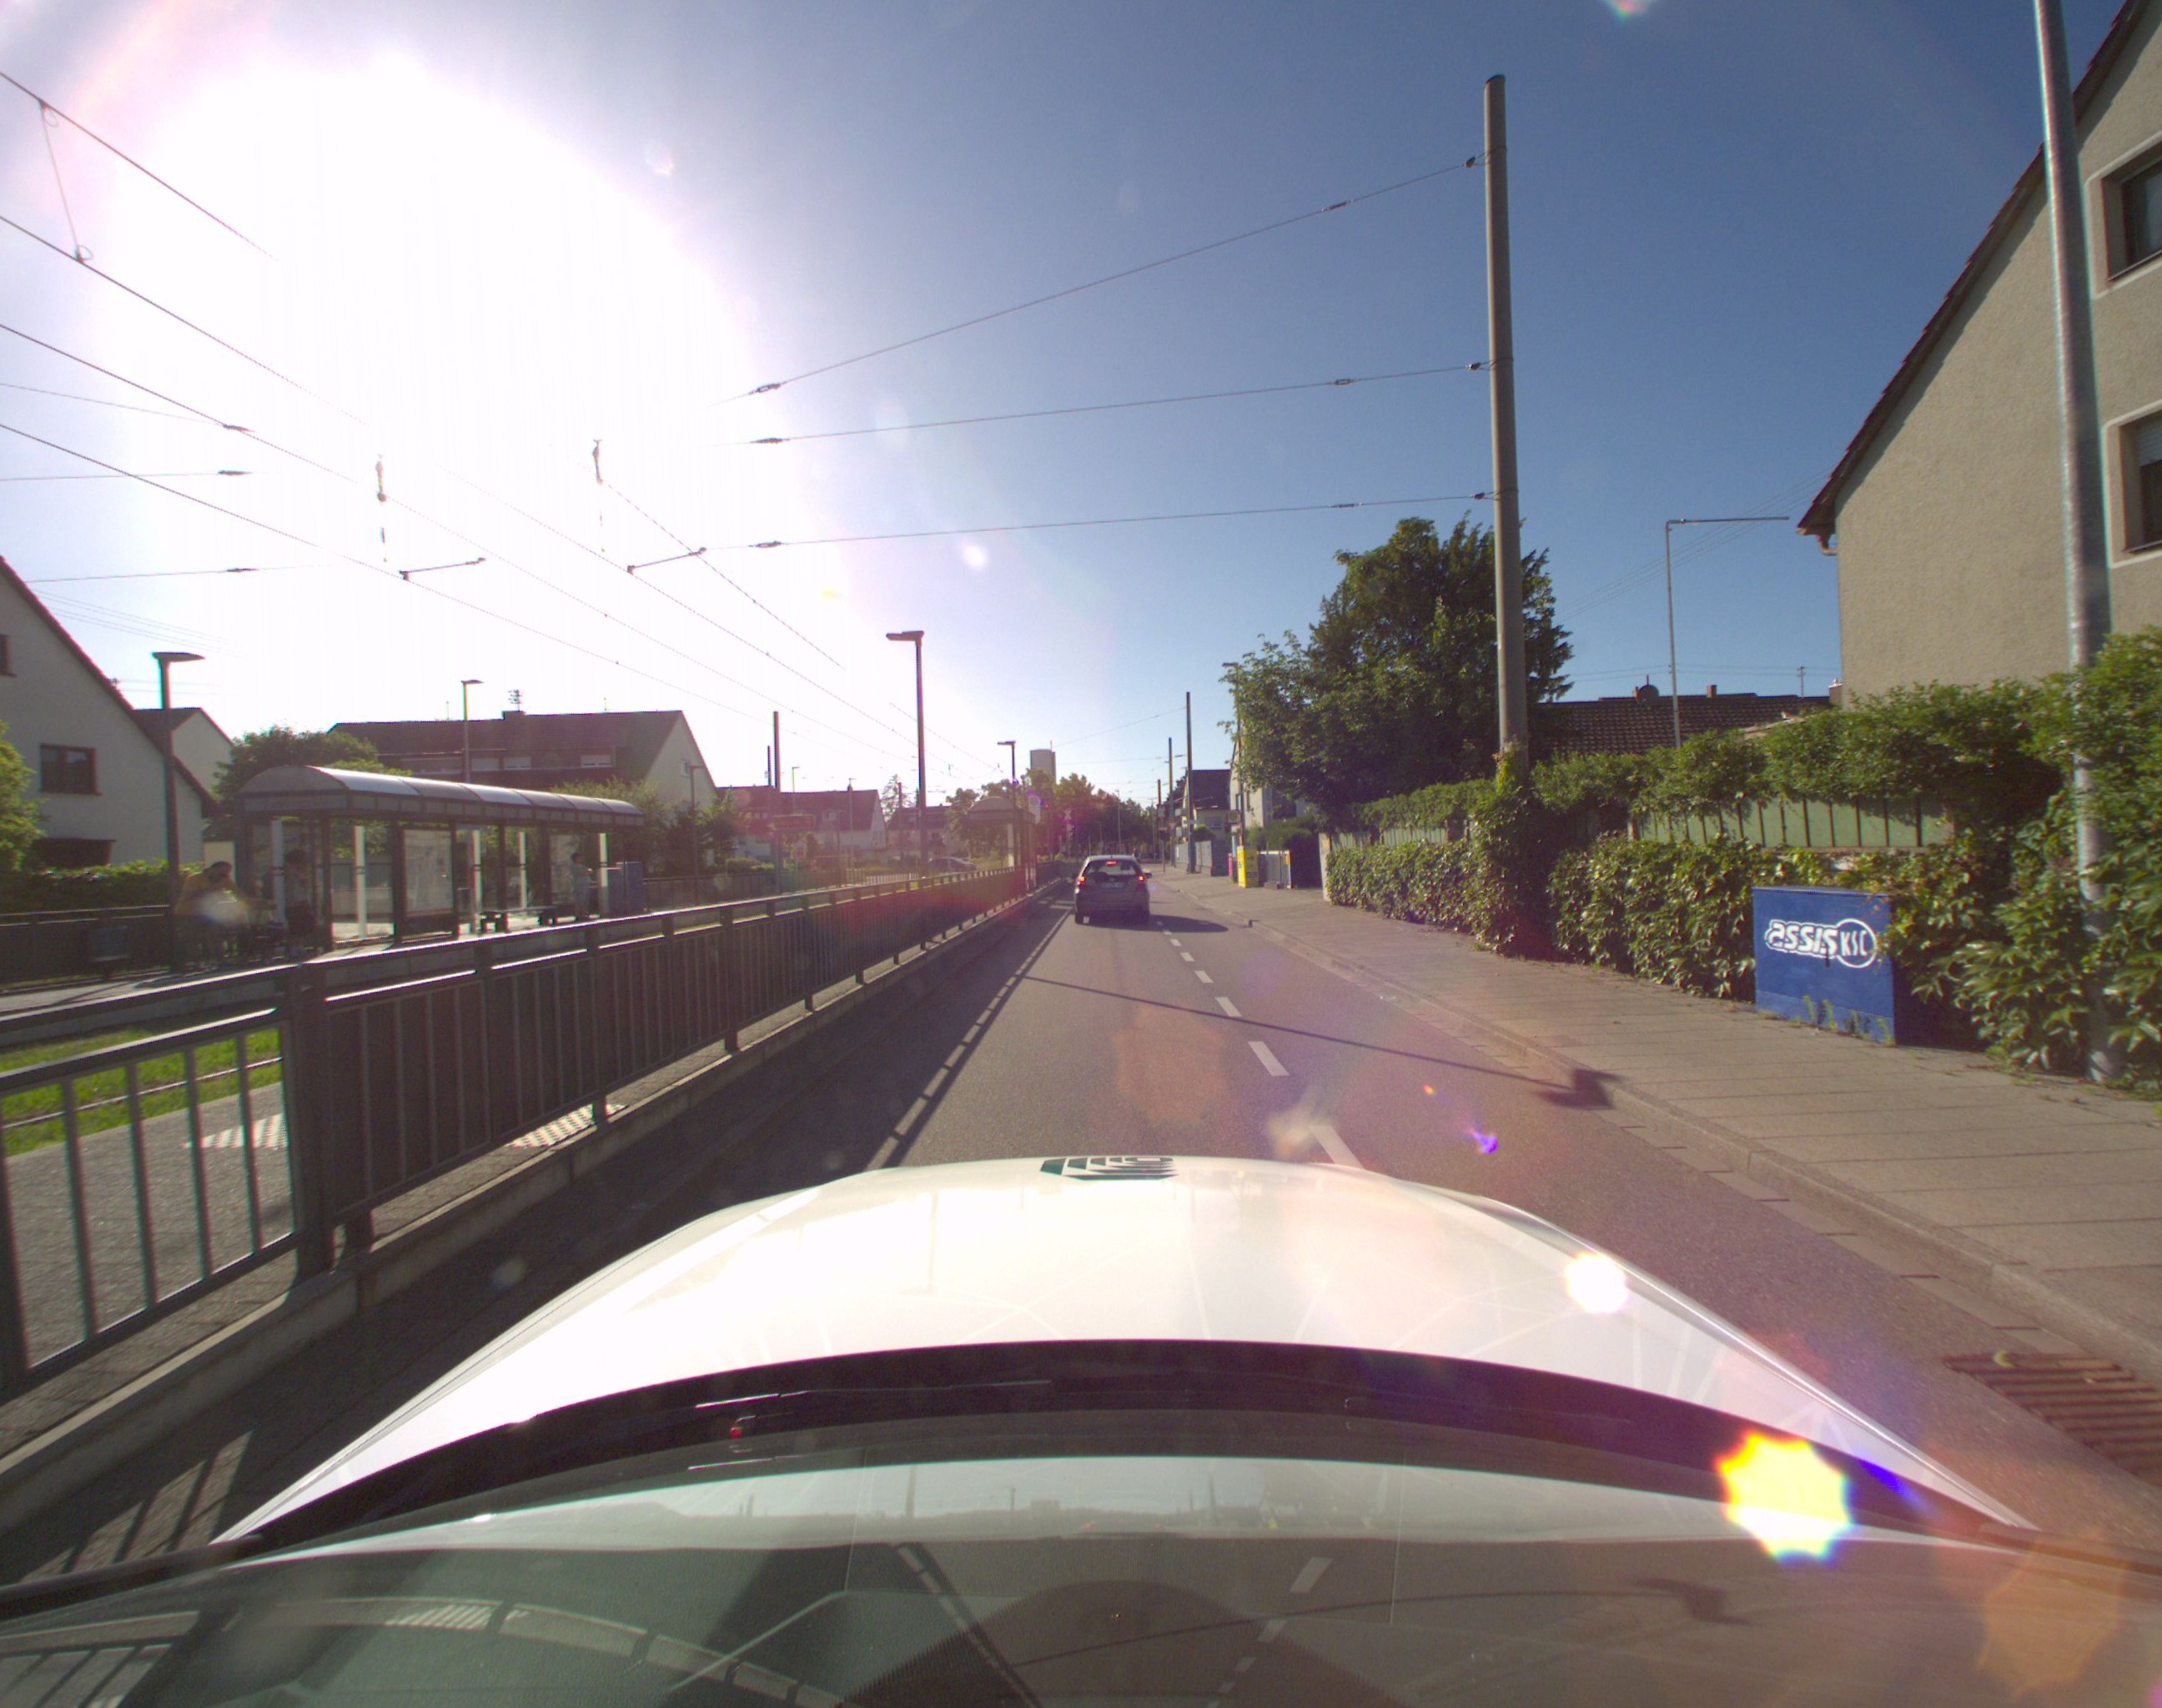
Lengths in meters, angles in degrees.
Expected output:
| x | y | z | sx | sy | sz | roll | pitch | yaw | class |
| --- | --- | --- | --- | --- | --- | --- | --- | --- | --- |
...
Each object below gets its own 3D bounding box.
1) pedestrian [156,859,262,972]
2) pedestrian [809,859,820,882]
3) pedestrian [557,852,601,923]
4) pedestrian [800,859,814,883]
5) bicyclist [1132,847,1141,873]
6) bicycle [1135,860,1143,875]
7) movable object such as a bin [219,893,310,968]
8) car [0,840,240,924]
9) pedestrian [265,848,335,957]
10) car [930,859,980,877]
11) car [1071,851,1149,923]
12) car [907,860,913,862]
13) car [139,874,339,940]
| x | y | z | sx | sy | sz | roll | pitch | yaw | class |
| --- | --- | --- | --- | --- | --- | --- | --- | --- | --- |
| -12.546 | 0.859 | 11.742 | 0.673 | 1.535 | 0.748 | -2 | 0 | -3 | pedestrian |
| -20.631 | 1.292 | 63.114 | 0.591 | 1.732 | 0.689 | -2 | 0 | 0 | pedestrian |
| -12.539 | 0.822 | 20.362 | 0.498 | 1.696 | 0.772 | -4 | 0 | 2 | pedestrian |
| -20.850 | 1.299 | 61.952 | 0.726 | 1.762 | 0.772 | -2 | 0 | 0 | pedestrian |
| 3.732 | 0.409 | 54.948 | 0.596 | 1.701 | 0.684 | 0 | -1 | 2 | bicyclist |
| 3.914 | 0.907 | 55.093 | 0.473 | 0.961 | 1.658 | 0 | -1 | 2 | bicycle |
| -11.848 | 1.095 | 11.836 | 0.545 | 0.988 | 0.741 | -2 | 0 | -2 | movable object such as a bin |
| -24.141 | 0.673 | 20.363 | 3.982 | 1.970 | 1.929 | 0 | -1 | -6 | car |
| -12.640 | 0.765 | 13.199 | 0.518 | 1.708 | 0.580 | -2 | 0 | -3 | pedestrian |
| -10.975 | 1.192 | 71.008 | 3.958 | 1.529 | 1.815 | -1 | -1 | 15 | car |
| 0.667 | 0.716 | 19.223 | 1.664 | 1.535 | 3.487 | -1 | 0 | 1 | car |
| -21.597 | 0.883 | 102.724 | 0.695 | 0.336 | 0.330 | -1 | -1 | 6 | car |
| -24.909 | 1.529 | 24.227 | 3.839 | 1.806 | 1.796 | 0 | -1 | -6 | car |
